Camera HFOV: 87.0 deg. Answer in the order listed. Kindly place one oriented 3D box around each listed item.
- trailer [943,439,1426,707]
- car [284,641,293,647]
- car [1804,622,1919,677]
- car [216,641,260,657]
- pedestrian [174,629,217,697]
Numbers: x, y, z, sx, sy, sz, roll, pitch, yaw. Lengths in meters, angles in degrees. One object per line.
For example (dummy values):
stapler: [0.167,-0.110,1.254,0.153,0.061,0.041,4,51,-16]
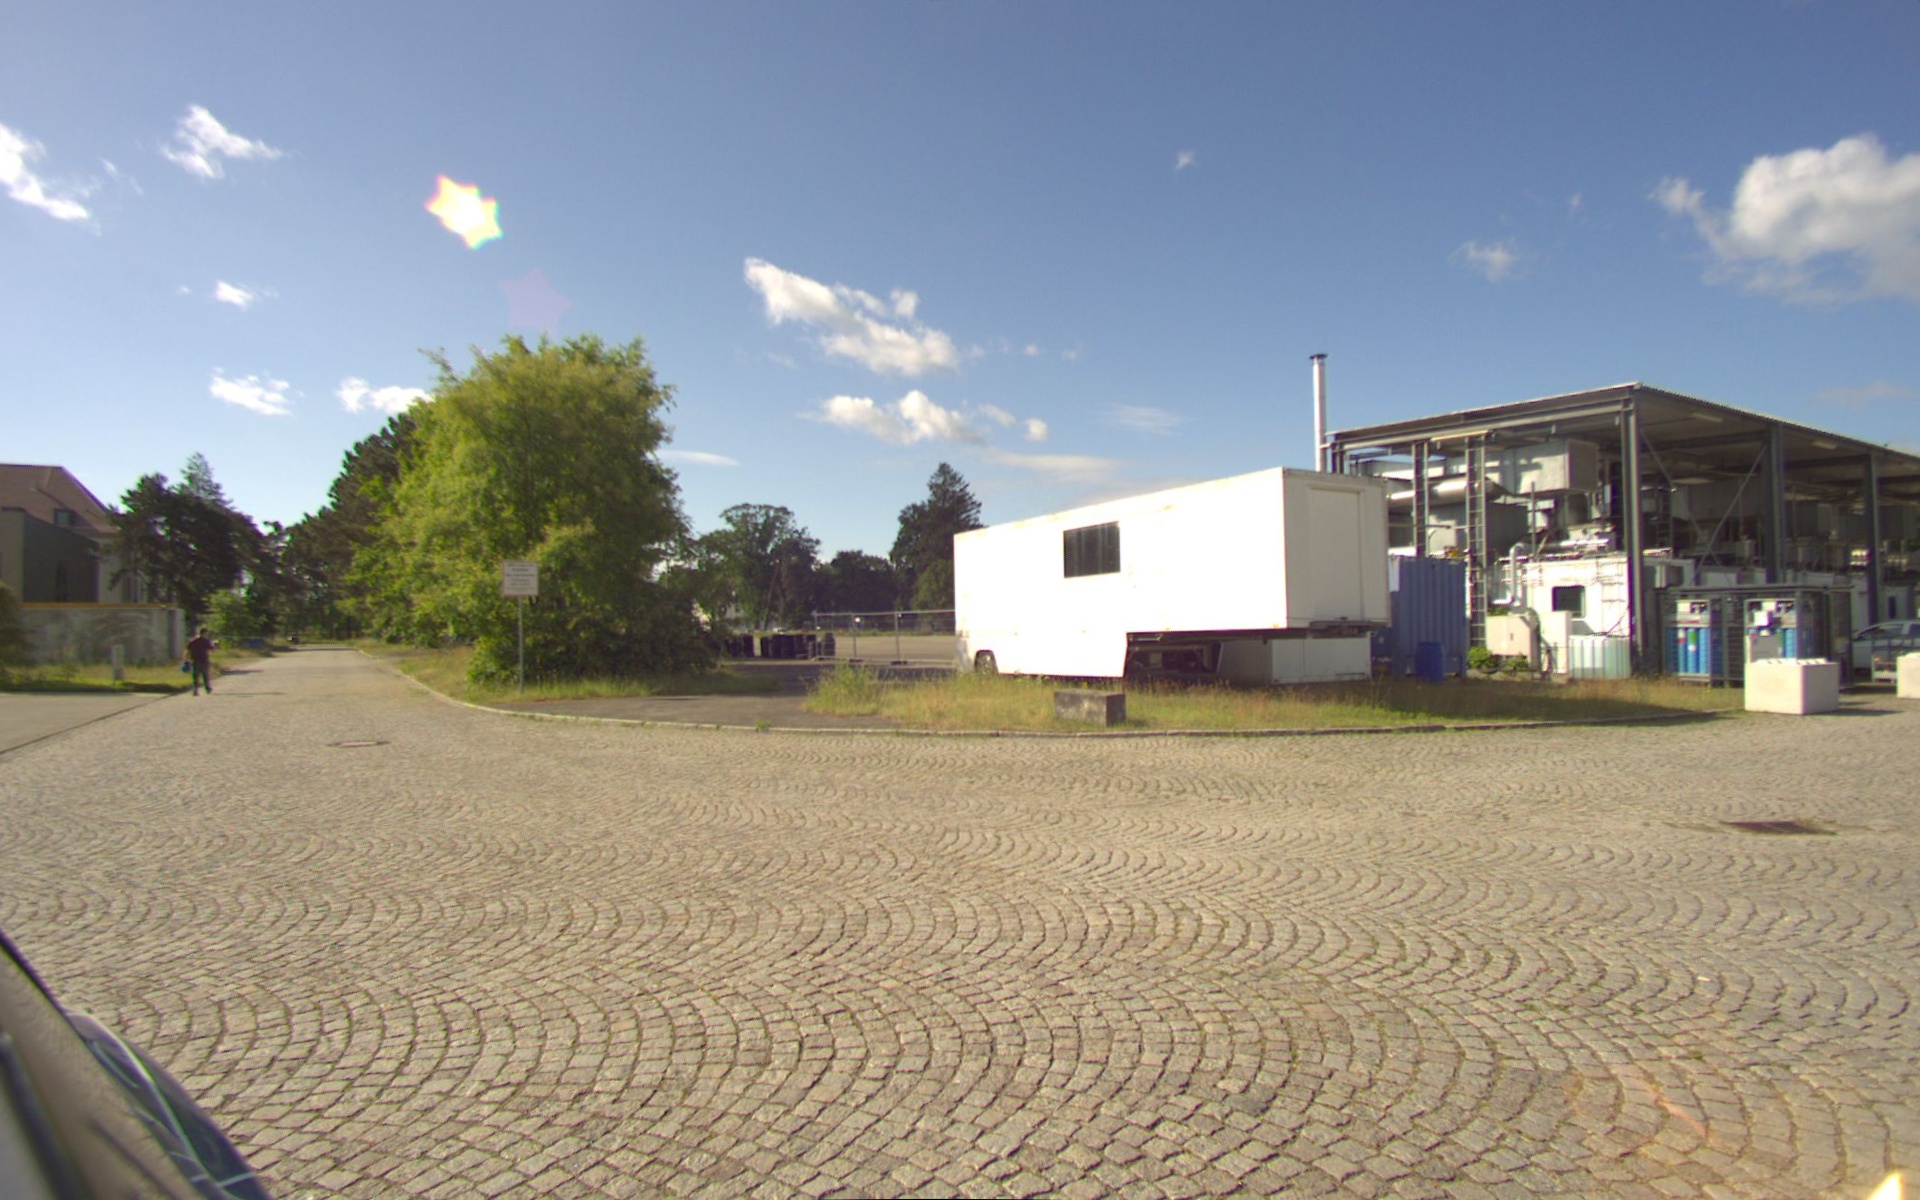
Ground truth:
trailer: [3.522,-0.204,20.278,2.733,3.941,10.918,1,-2,-30]
car: [-120.723,7.925,181.954,1.351,1.107,2.870,1,-2,-35]
car: [24.460,1.277,26.355,1.584,1.386,3.482,1,-3,-35]
car: [-59.693,4.066,83.729,2.866,1.269,1.290,1,-2,-41]
pedestrian: [-20.675,1.683,27.390,0.784,1.794,1.071,2,-3,-34]
